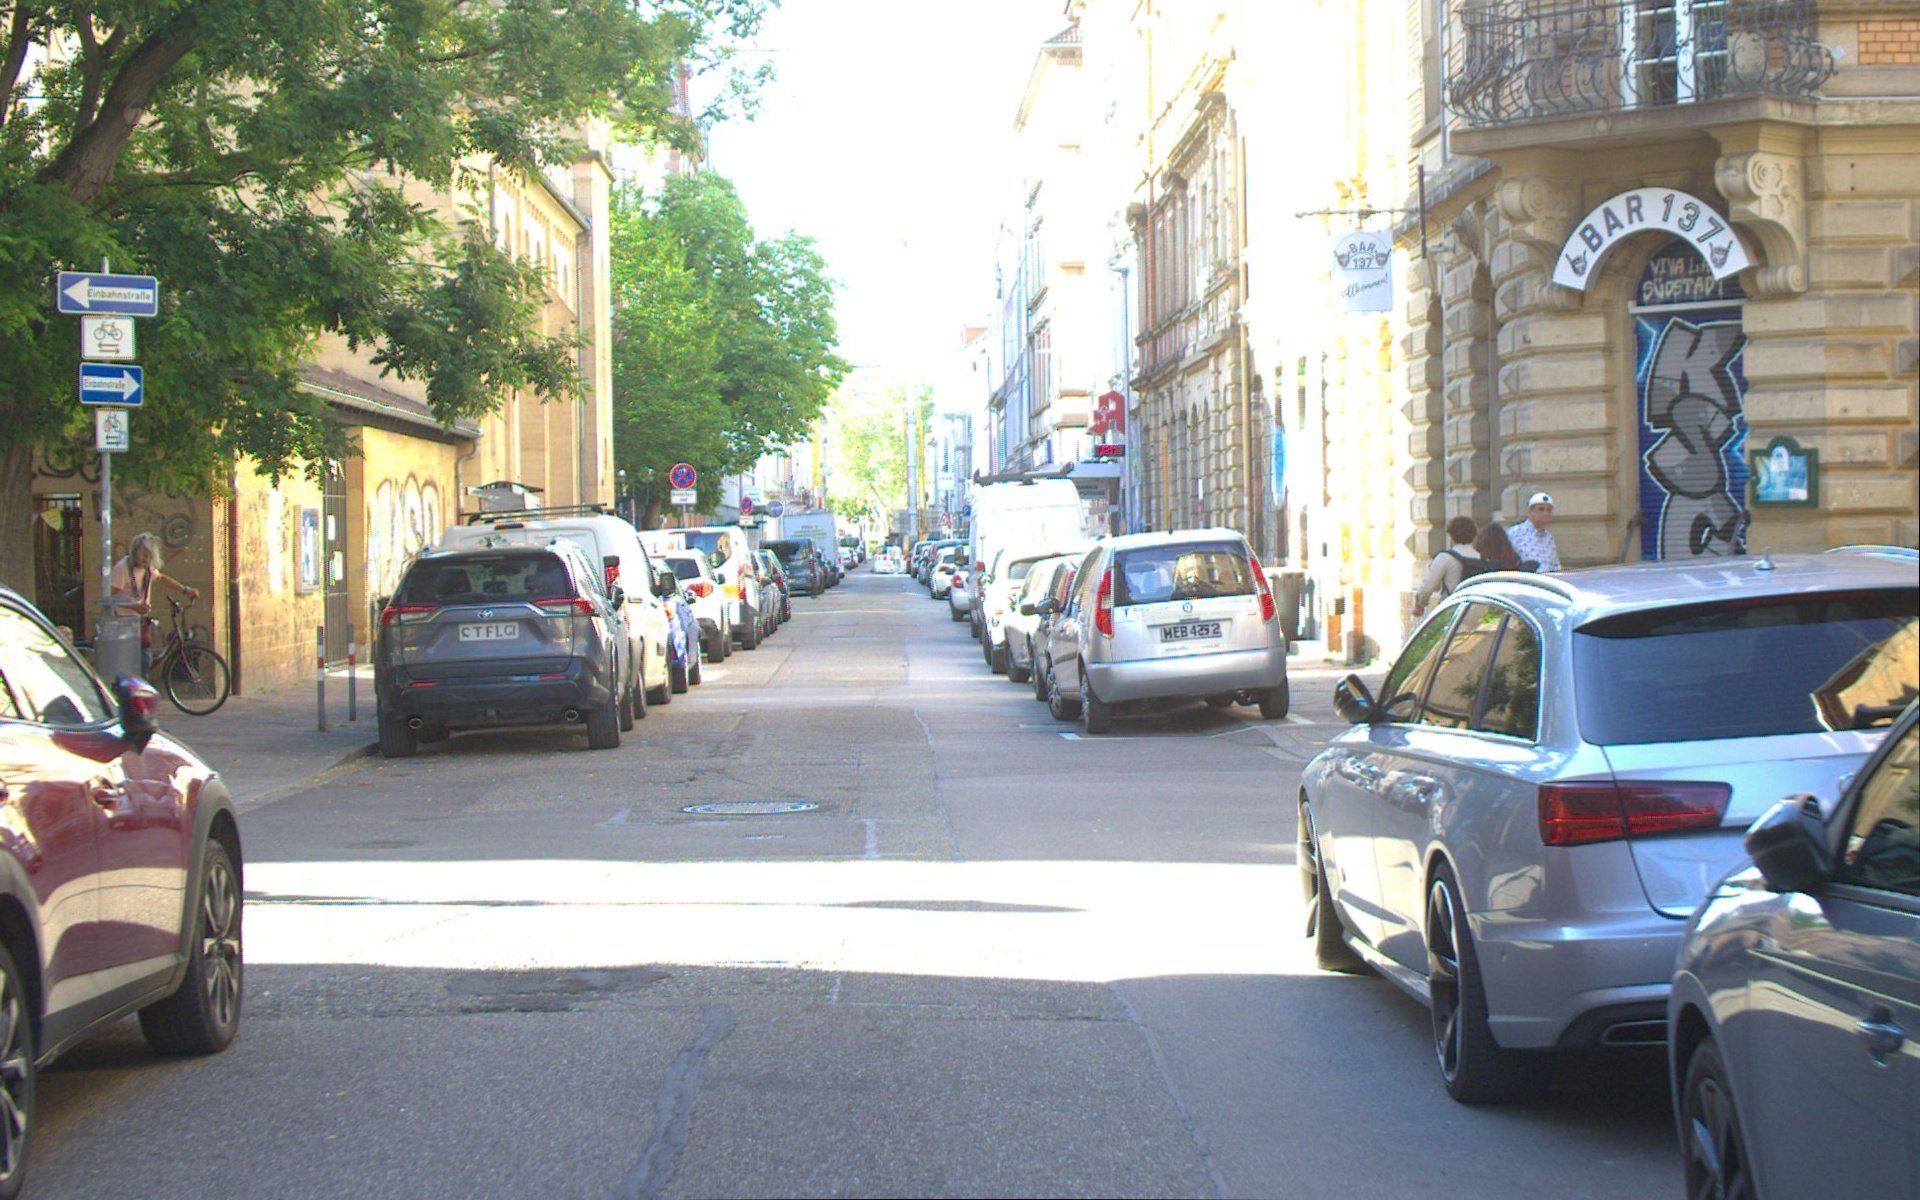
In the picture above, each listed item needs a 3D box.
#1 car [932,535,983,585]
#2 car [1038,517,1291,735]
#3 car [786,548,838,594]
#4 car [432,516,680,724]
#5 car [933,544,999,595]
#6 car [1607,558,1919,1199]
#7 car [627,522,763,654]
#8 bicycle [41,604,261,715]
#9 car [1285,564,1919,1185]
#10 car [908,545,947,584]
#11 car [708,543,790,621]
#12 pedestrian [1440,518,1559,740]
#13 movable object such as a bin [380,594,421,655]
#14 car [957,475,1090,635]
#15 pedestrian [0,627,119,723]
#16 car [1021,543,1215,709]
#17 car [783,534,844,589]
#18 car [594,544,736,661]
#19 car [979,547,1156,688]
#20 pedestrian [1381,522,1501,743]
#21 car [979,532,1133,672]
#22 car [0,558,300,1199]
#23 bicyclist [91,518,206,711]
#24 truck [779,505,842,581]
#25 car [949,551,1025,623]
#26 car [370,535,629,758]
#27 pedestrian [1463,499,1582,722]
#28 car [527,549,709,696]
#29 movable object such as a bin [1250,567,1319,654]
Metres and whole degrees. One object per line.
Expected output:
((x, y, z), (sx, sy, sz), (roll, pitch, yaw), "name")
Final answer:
((-0.104, -1.453, 123.993), (1.769, 1.735, 4.000), (-1, 1, -1), "car")
((1.695, 0.171, 29.694), (1.703, 1.708, 3.938), (-2, 1, -3), "car")
((-5.934, -1.167, 137.354), (1.875, 1.790, 4.001), (-1, 1, -5), "car")
((-3.843, 0.127, 33.373), (1.845, 1.856, 4.465), (-1, 1, 0), "car")
((0.172, -0.932, 103.386), (1.897, 1.483, 3.869), (-1, 1, -1), "car")
((2.171, 0.701, 5.012), (1.666, 1.474, 3.888), (-1, 2, -1), "car")
((-4.191, -0.220, 54.983), (1.864, 1.950, 4.611), (-3, 1, -2), "car")
((-7.389, 0.534, 31.451), (1.762, 0.920, 0.826), (2, 1, 7), "bicycle")
((2.099, 0.638, 10.493), (1.706, 1.454, 4.511), (1, 1, -1), "car")
((-1.699, -1.871, 179.786), (1.993, 2.007, 4.000), (-1, 1, -1), "car")
((-4.654, -0.415, 76.141), (1.600, 1.608, 3.809), (-3, 1, -2), "car")
((4.037, 0.209, 25.754), (0.574, 1.616, 0.734), (-2, 2, -15), "pedestrian")
((-7.520, 0.325, 46.227), (0.453, 0.805, 0.590), (-1, 1, -1), "movable object such as a bin")
((1.040, -0.802, 59.032), (2.068, 2.602, 5.888), (0, 1, -1), "car")
((-7.786, 0.637, 29.613), (0.915, 0.775, 0.703), (-2, 1, -25), "pedestrian")
((1.518, 0.216, 34.208), (1.535, 1.508, 3.682), (-2, 1, -3), "car")
((-4.893, -1.313, 115.160), (1.875, 1.790, 4.000), (-1, 1, -1), "car")
((-4.174, 0.005, 49.113), (1.742, 1.581, 3.869), (0, 1, -1), "car")
((1.206, 0.169, 39.989), (1.572, 1.520, 3.909), (1, 1, -5), "car")
((3.574, 0.233, 25.566), (0.590, 1.598, 0.727), (-2, 2, -16), "pedestrian")
((1.196, 0.006, 44.463), (1.807, 1.684, 4.214), (1, 0, 0), "car")
((-3.021, 0.632, 9.314), (1.722, 1.476, 4.090), (1, 1, -1), "car")
((-7.417, 0.122, 31.446), (0.805, 1.717, 0.692), (2, 2, 7), "bicyclist")
((-6.650, -2.546, 153.639), (2.532, 3.270, 6.995), (-1, 1, -1), "truck")
((0.582, -0.299, 75.011), (1.603, 1.499, 4.000), (0, 1, 0), "car")
((-3.667, 0.312, 27.997), (1.740, 1.641, 4.290), (-1, 1, -3), "car")
((4.444, 0.078, 27.146), (0.574, 1.727, 0.663), (-3, 2, -42), "pedestrian")
((-3.802, 0.210, 38.741), (1.687, 1.471, 3.860), (-3, 1, -1), "car")
((4.091, 0.136, 43.350), (0.548, 1.049, 0.603), (-5, 1, -34), "movable object such as a bin")
